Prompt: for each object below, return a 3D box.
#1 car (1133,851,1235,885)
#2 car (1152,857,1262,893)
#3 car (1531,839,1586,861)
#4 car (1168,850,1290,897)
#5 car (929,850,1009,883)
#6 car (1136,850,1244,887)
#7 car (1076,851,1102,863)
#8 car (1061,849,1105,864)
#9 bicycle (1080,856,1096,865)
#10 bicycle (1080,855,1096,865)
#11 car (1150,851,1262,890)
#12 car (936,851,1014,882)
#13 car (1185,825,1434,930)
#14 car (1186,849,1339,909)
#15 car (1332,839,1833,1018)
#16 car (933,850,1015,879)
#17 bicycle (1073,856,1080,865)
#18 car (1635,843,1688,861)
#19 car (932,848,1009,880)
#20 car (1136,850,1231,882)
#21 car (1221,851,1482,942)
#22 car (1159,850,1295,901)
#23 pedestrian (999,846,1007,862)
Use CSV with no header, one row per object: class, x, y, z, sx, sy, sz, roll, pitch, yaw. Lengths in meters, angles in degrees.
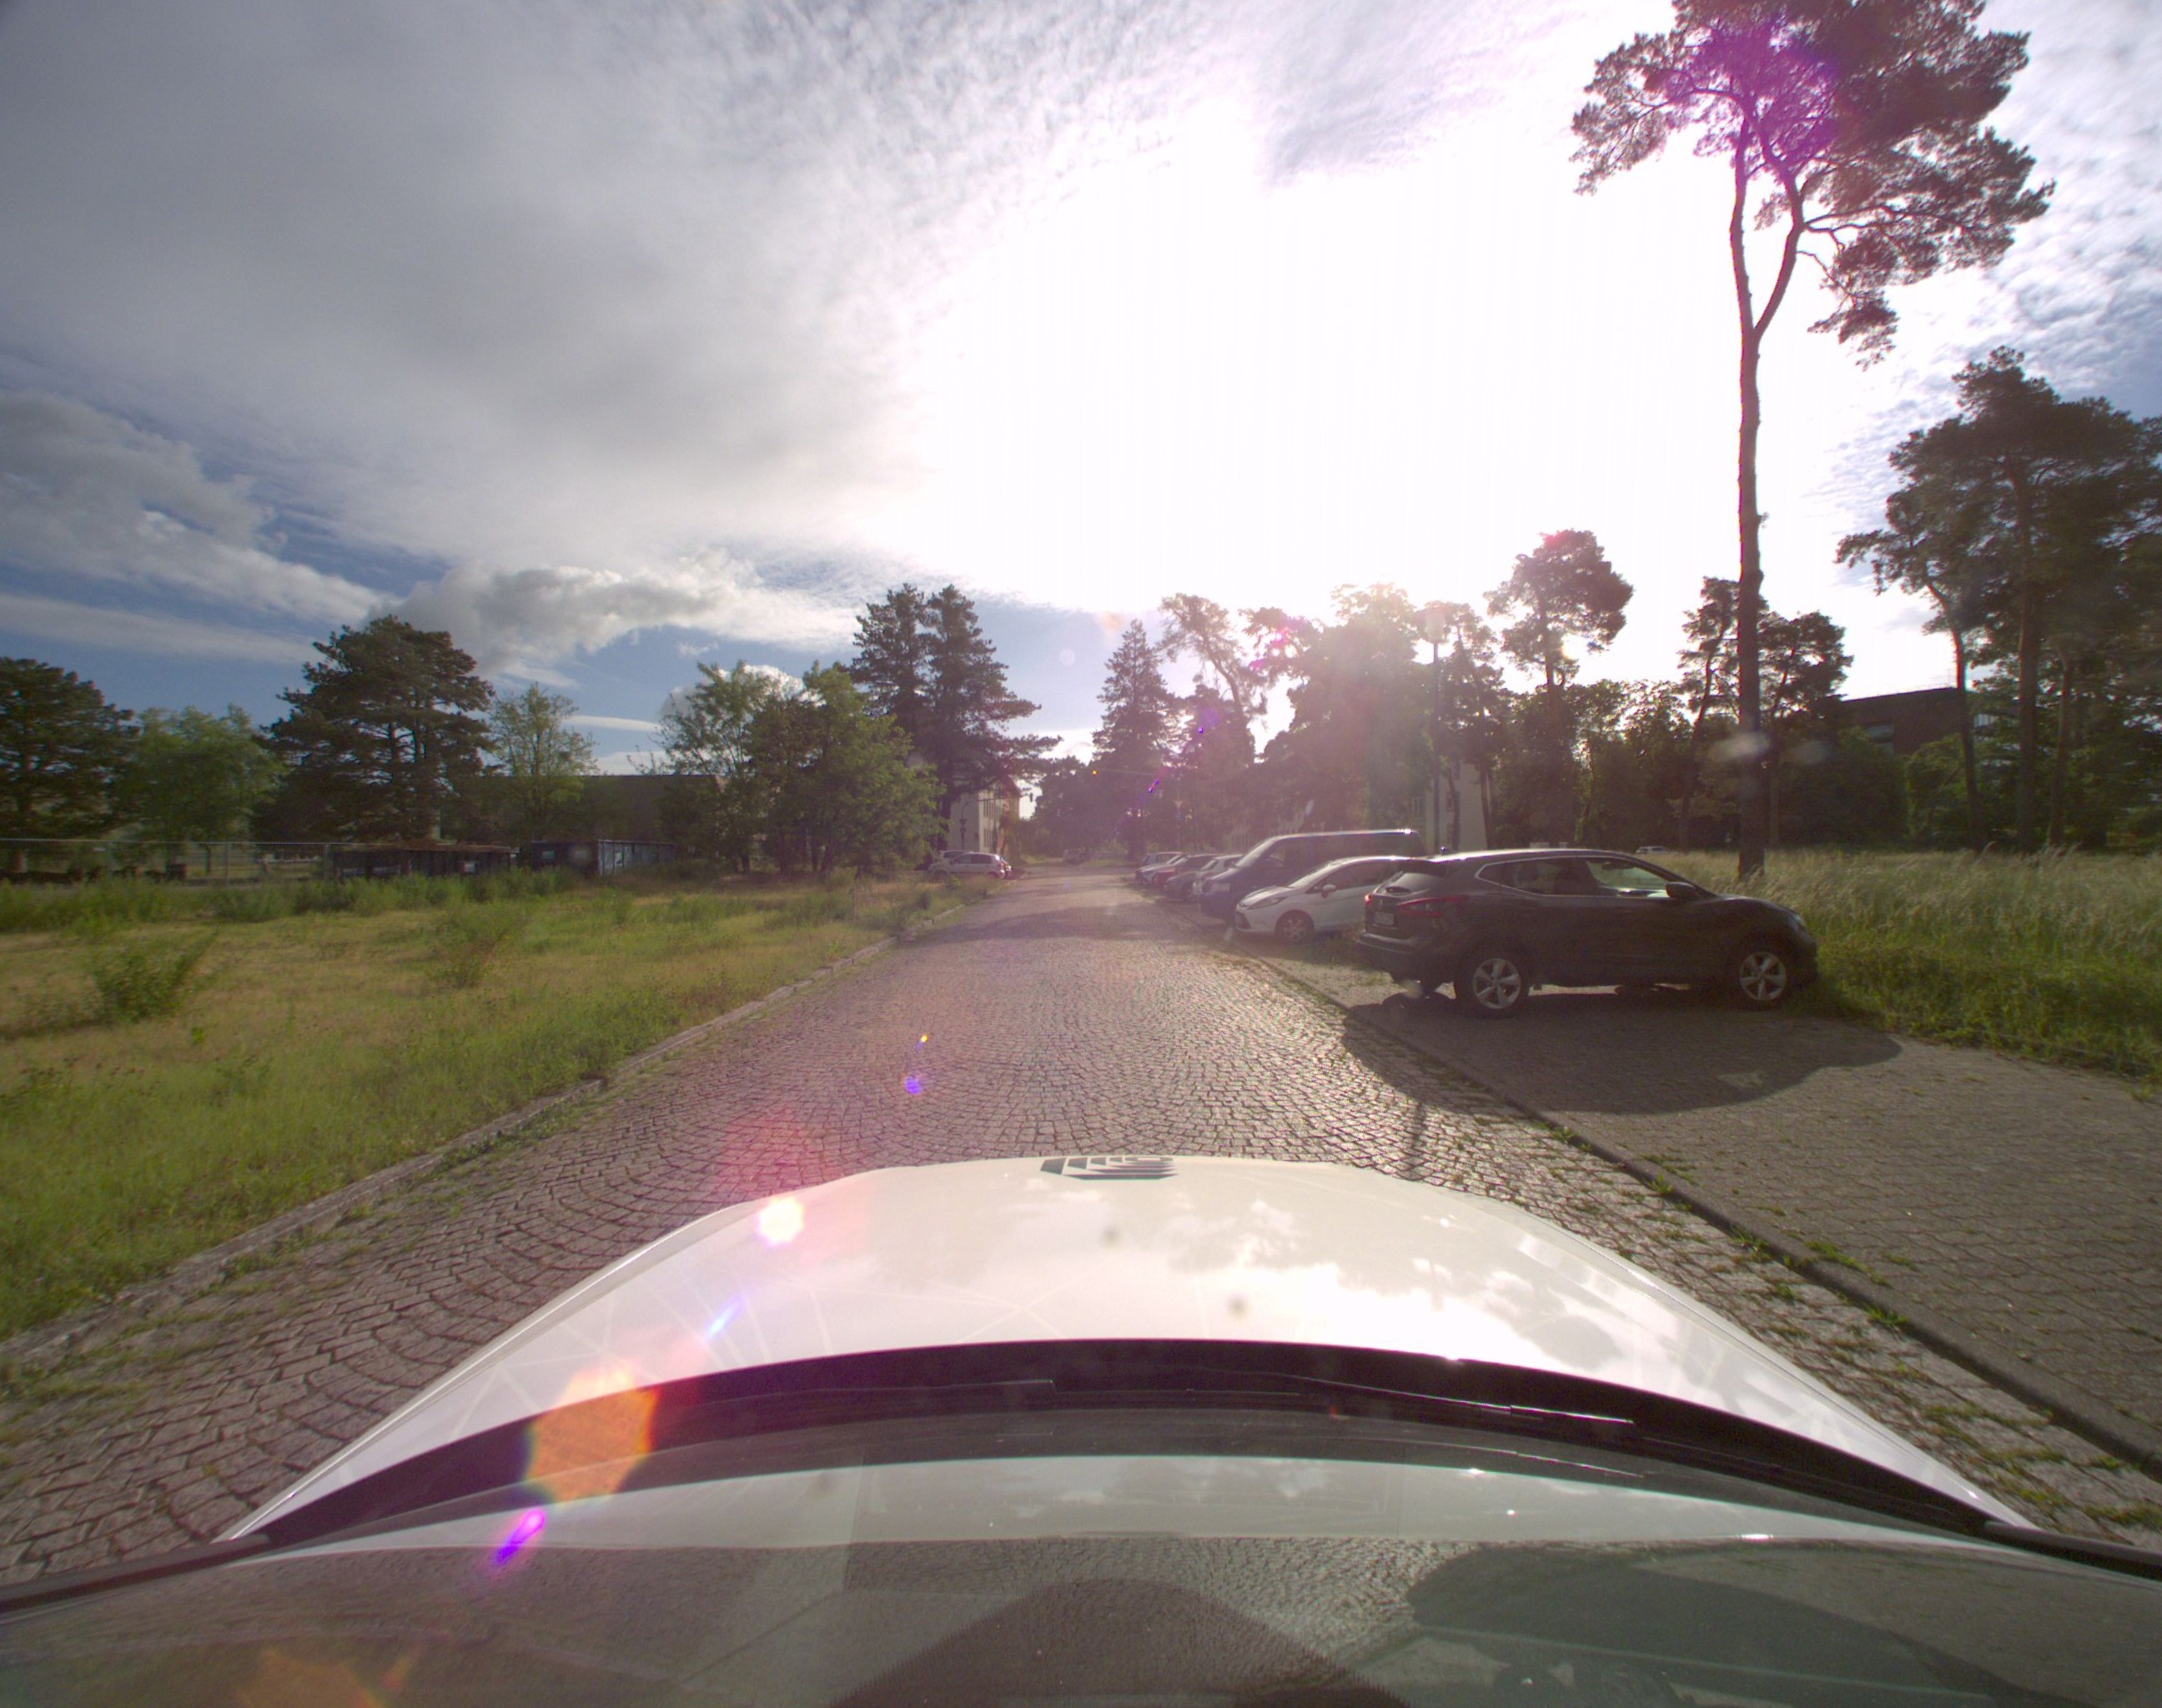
car,4.831,0.639,38.687,4.499,1.473,1.892,-1,-1,-5
car,4.764,0.774,31.259,3.939,1.261,1.726,-1,-1,-1
car,56.011,-0.489,95.673,5.141,2.536,2.264,0,-1,0
car,5.135,0.673,28.630,3.939,1.495,1.771,-1,-1,-1
car,-5.473,0.617,40.163,3.674,1.473,1.848,2,-1,-3
car,4.757,0.641,35.907,4.494,1.473,1.848,-1,-1,-2
car,0.989,0.400,104.661,3.036,1.465,1.712,0,-1,-14
car,0.274,0.305,108.209,5.510,1.916,2.243,0,-1,-15
bicycle,0.780,0.698,93.307,1.788,0.999,0.644,-1,1,-3
bicycle,0.795,0.689,92.287,1.788,0.999,0.644,-1,1,-3
car,5.123,0.650,33.646,4.329,1.473,1.739,-1,-1,-2
car,-5.545,0.637,42.817,3.818,1.429,1.857,2,-1,-2
car,4.770,0.483,17.491,4.720,1.928,1.991,-2,-1,-2
car,5.011,0.671,22.848,3.863,1.530,1.807,-1,-1,-1
car,5.052,0.699,8.630,4.180,1.589,1.876,-1,-1,-2
car,-6.250,0.604,48.035,4.577,1.455,1.901,2,1,-4
bicycle,-0.525,0.706,88.663,0.726,0.999,1.798,-1,1,-1
car,56.704,-0.200,79.583,3.923,1.679,1.854,0,-1,-3
car,-6.129,0.567,45.496,4.115,1.600,1.855,2,-1,-6
car,5.148,0.591,41.321,4.533,1.505,1.931,-1,-1,-3
car,4.859,0.735,14.980,4.183,1.470,1.805,-1,-1,-5
car,4.532,0.672,25.693,3.939,1.467,1.830,-1,-1,-1
pedestrian,-10.032,-0.018,104.366,0.982,1.963,0.932,0,-1,-2
